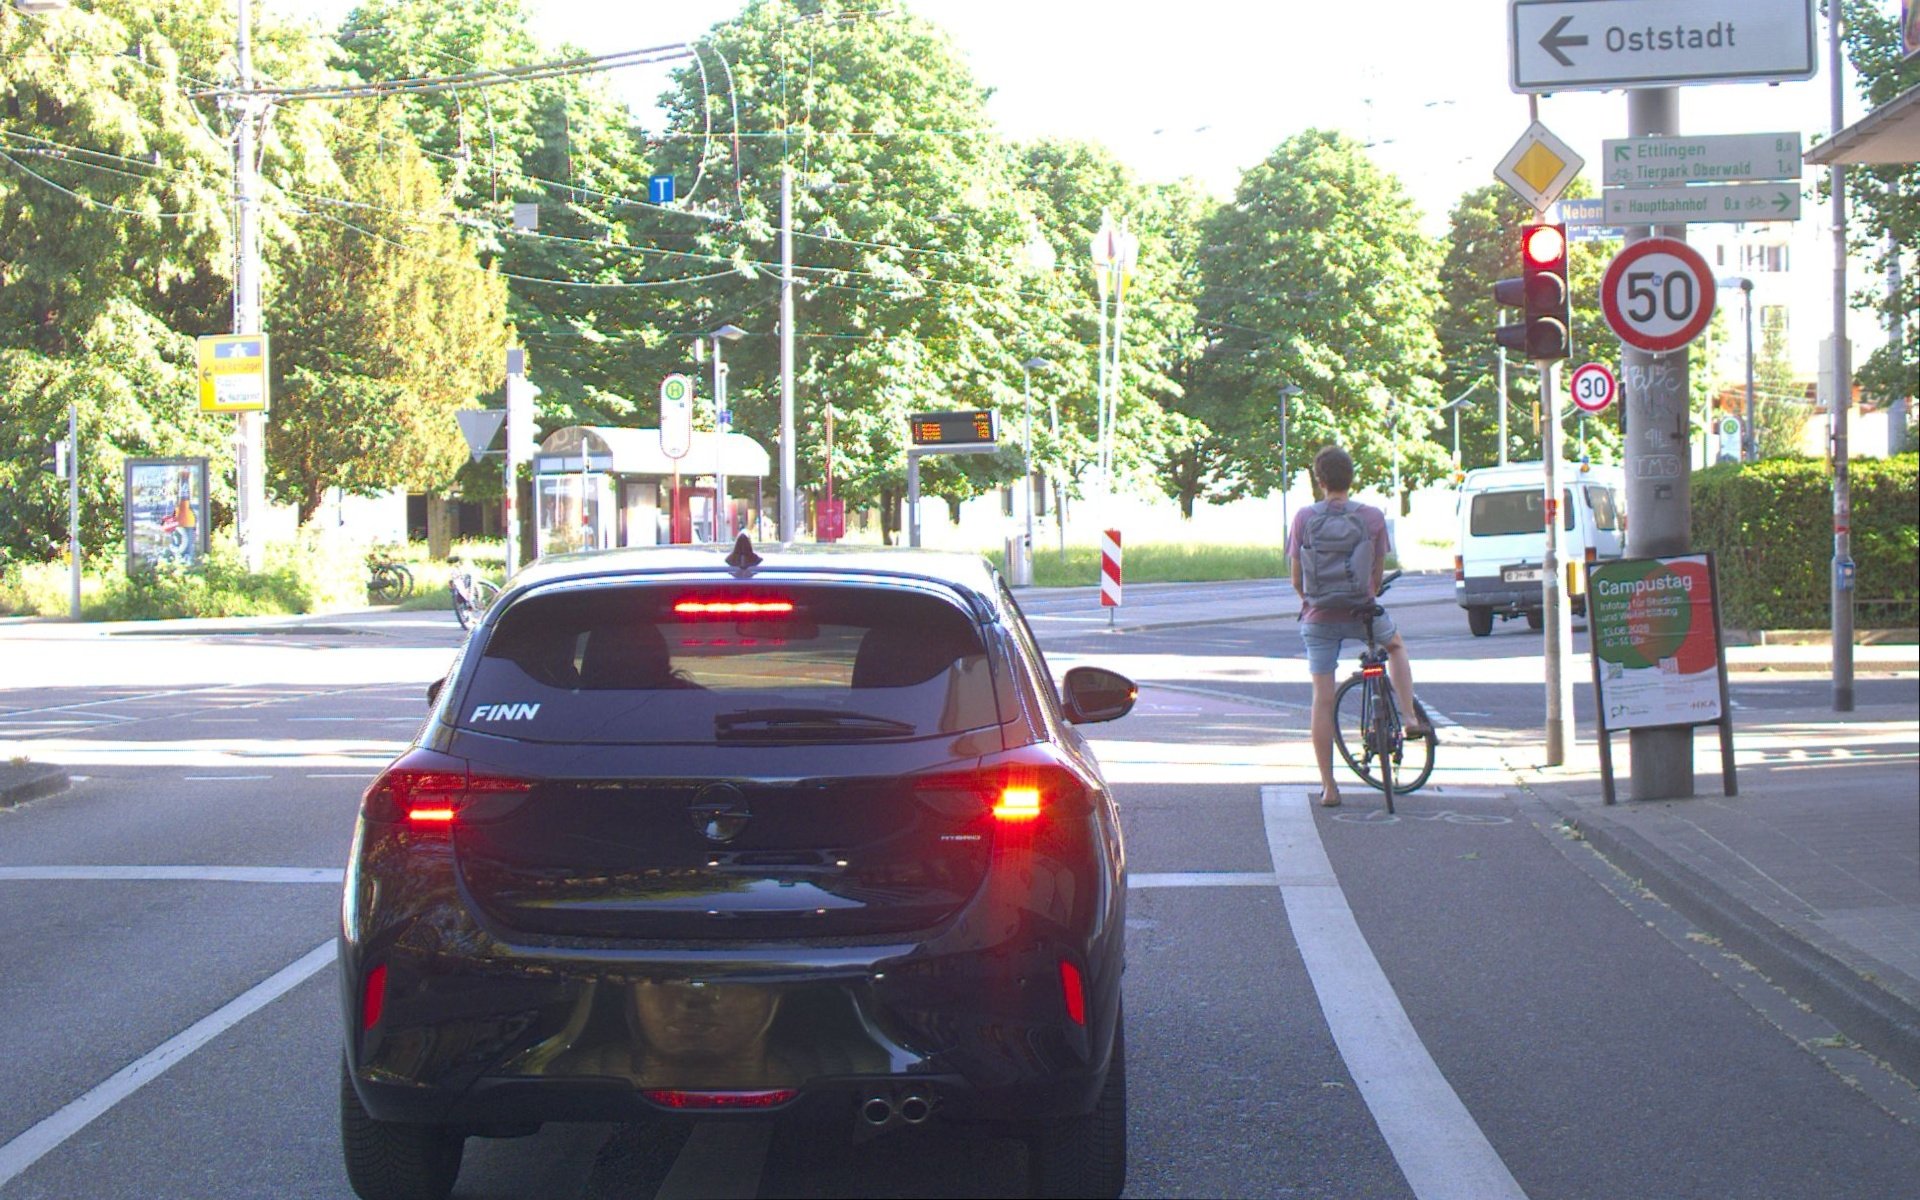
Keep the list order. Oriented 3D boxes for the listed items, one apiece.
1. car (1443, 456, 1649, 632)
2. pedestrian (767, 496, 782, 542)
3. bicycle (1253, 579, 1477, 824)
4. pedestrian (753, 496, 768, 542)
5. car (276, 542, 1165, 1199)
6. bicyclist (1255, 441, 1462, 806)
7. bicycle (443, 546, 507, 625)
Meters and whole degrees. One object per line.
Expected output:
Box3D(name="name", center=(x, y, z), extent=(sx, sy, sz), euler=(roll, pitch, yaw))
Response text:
Box3D(name="car", center=(7.977, -0.773, 46.463), extent=(2.065, 2.241, 4.883), euler=(0, 1, 18))
Box3D(name="pedestrian", center=(-5.767, -2.519, 107.121), extent=(0.412, 1.408, 0.436), euler=(1, 0, -1))
Box3D(name="bicycle", center=(2.078, 0.491, 17.925), extent=(0.860, 1.149, 2.172), euler=(-1, 1, -1))
Box3D(name="pedestrian", center=(-6.251, -2.536, 107.601), extent=(0.412, 1.408, 0.436), euler=(1, 0, -3))
Box3D(name="car", center=(-0.484, 0.579, 8.804), extent=(1.727, 1.424, 4.187), euler=(0, 1, 0))
Box3D(name="bicyclist", center=(2.066, 0.111, 17.922), extent=(0.941, 1.845, 0.864), euler=(-1, 1, -1))
Box3D(name="bicycle", center=(-6.549, -0.208, 46.484), extent=(0.605, 1.028, 1.982), euler=(0, 1, -1))
